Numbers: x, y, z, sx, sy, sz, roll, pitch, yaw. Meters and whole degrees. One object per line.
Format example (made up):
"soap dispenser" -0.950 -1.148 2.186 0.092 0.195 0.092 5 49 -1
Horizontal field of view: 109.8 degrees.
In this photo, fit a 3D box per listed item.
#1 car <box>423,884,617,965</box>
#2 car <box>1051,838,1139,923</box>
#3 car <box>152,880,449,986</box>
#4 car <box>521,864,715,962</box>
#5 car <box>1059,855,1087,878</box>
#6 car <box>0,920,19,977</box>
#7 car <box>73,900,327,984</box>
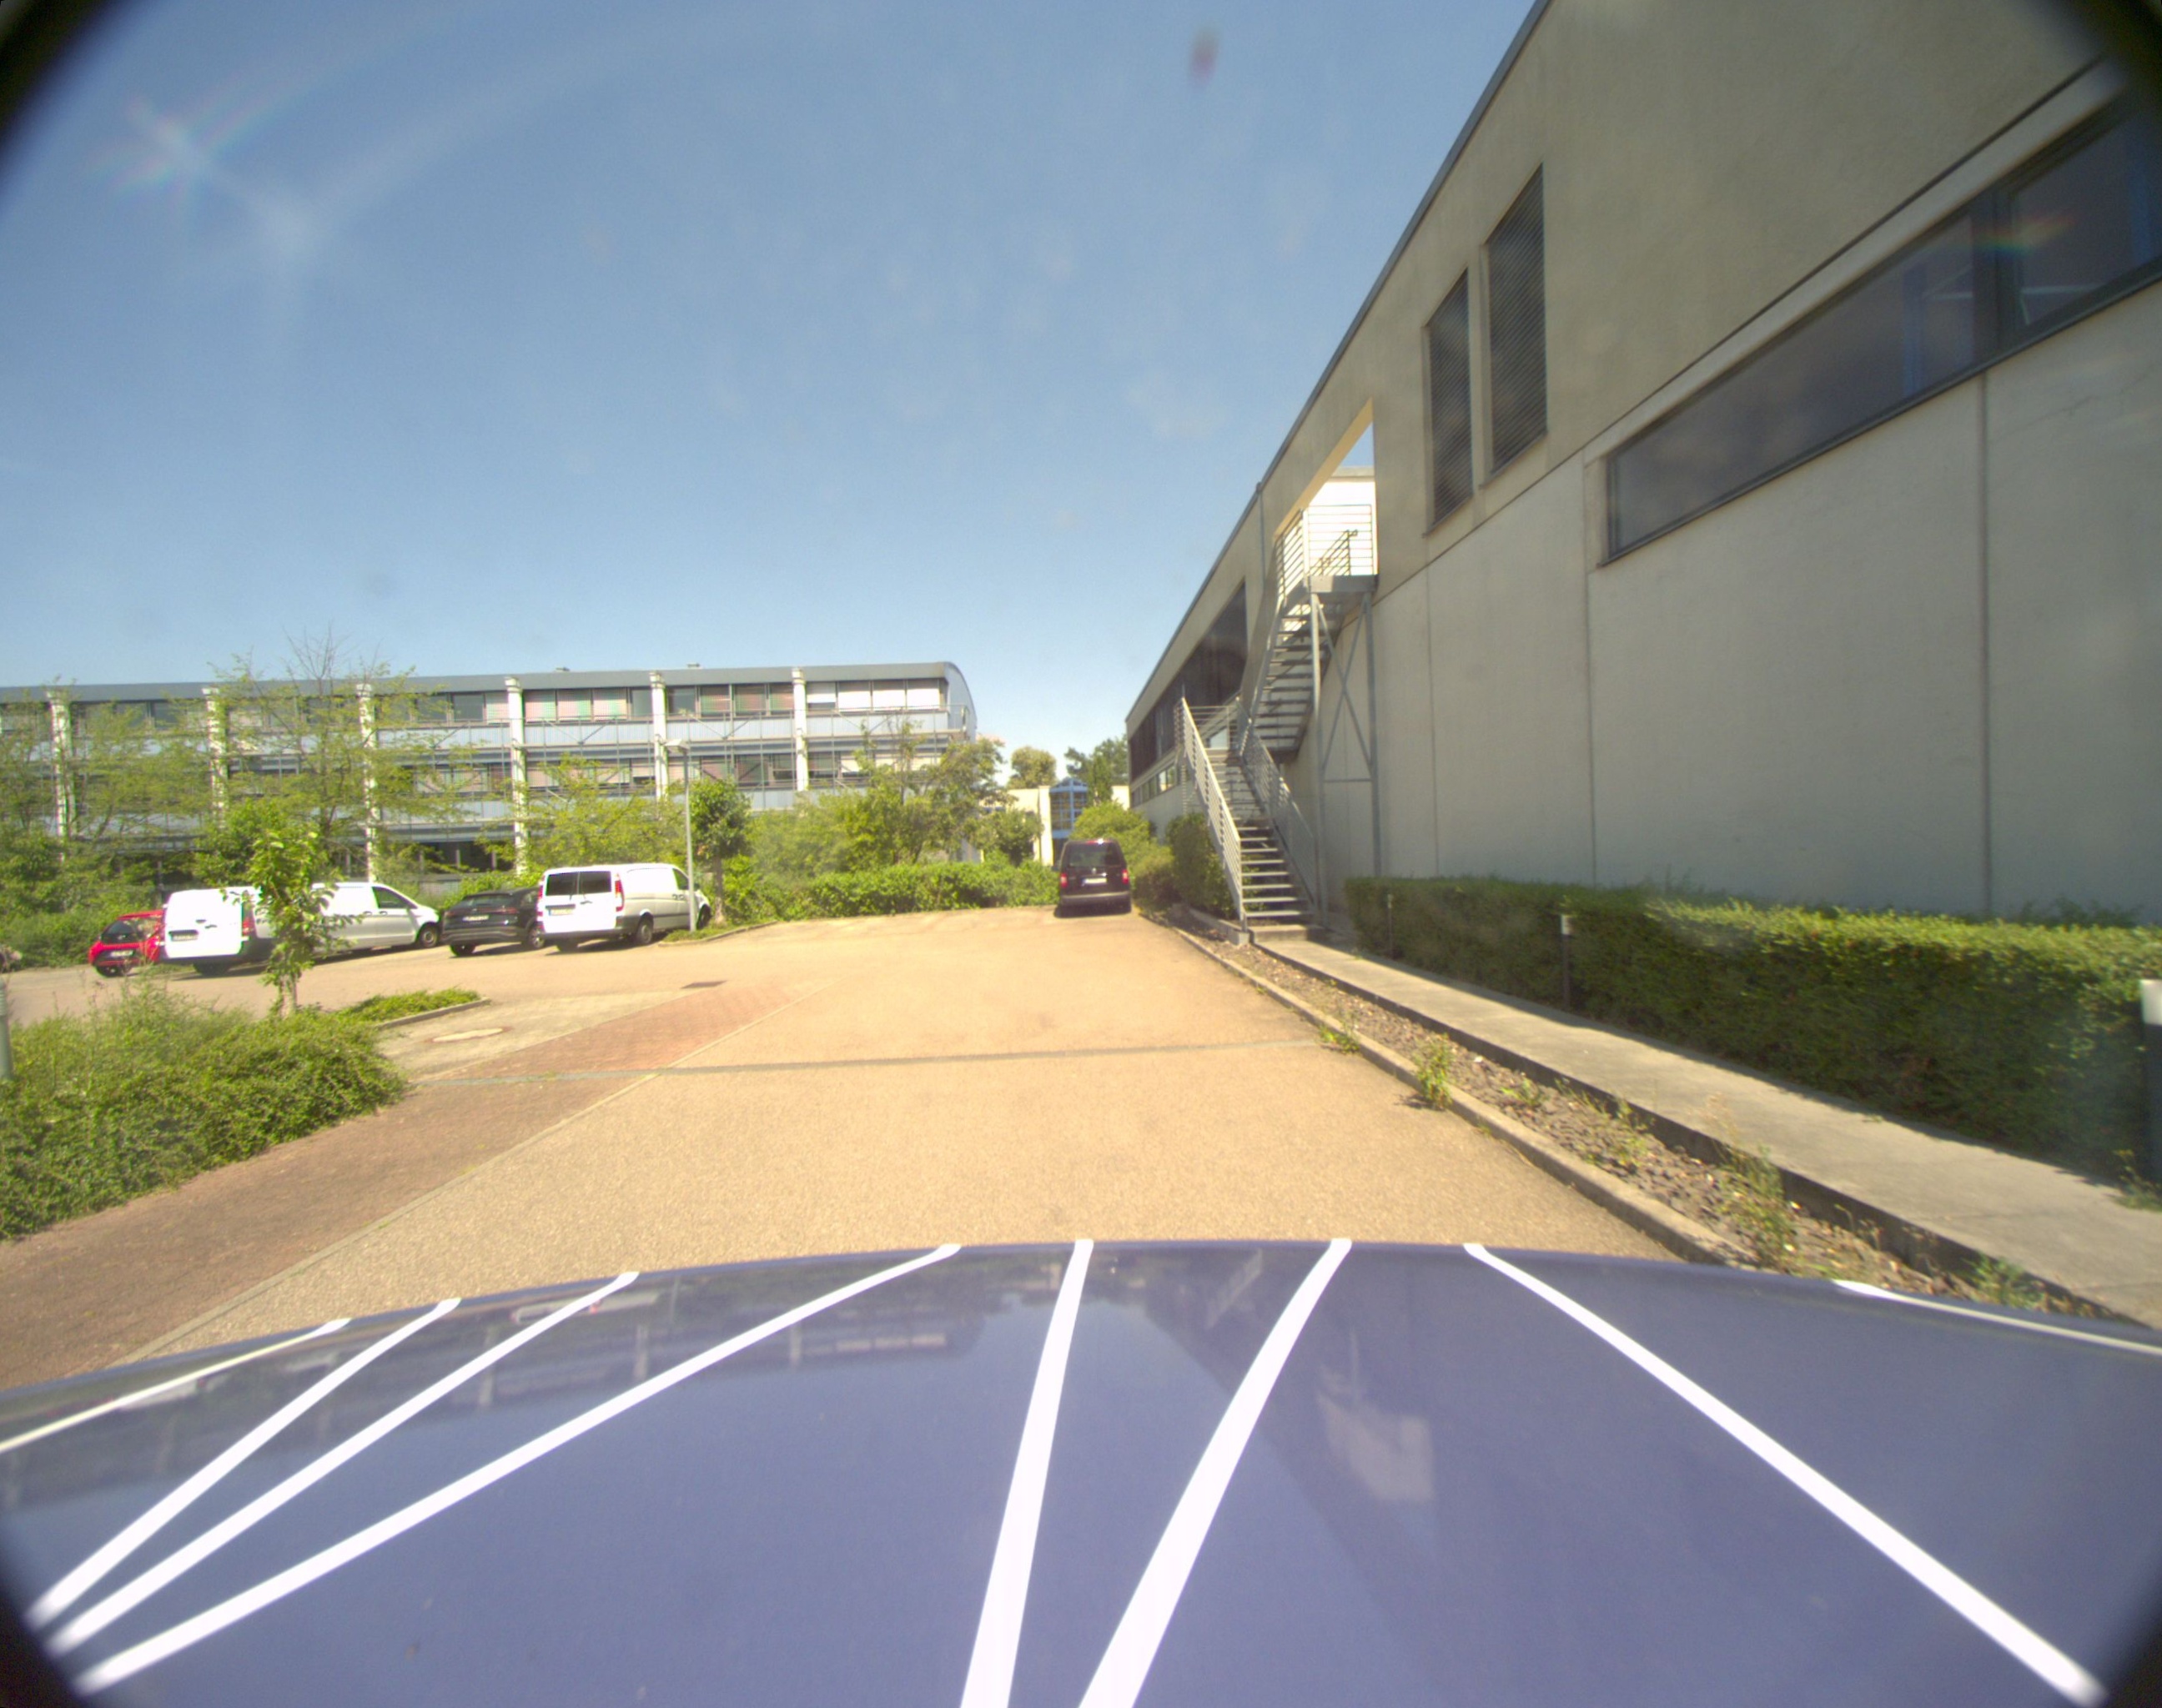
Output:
"car" -13.594 1.623 18.795 1.739 1.475 4.196 -4 1 -3
"car" 0.241 0.589 19.714 1.867 1.849 4.227 -4 1 -3
"car" -18.043 1.703 18.034 1.855 1.845 4.934 -4 1 -1
"car" -10.876 1.278 18.352 1.867 1.849 4.675 -4 1 -3
"car" -0.701 1.000 62.419 1.836 1.558 3.997 -3 2 -6
"car" -29.076 2.549 18.079 1.738 1.475 4.084 -4 1 0
"car" -21.462 2.076 18.802 1.624 1.479 3.920 -4 1 -1
